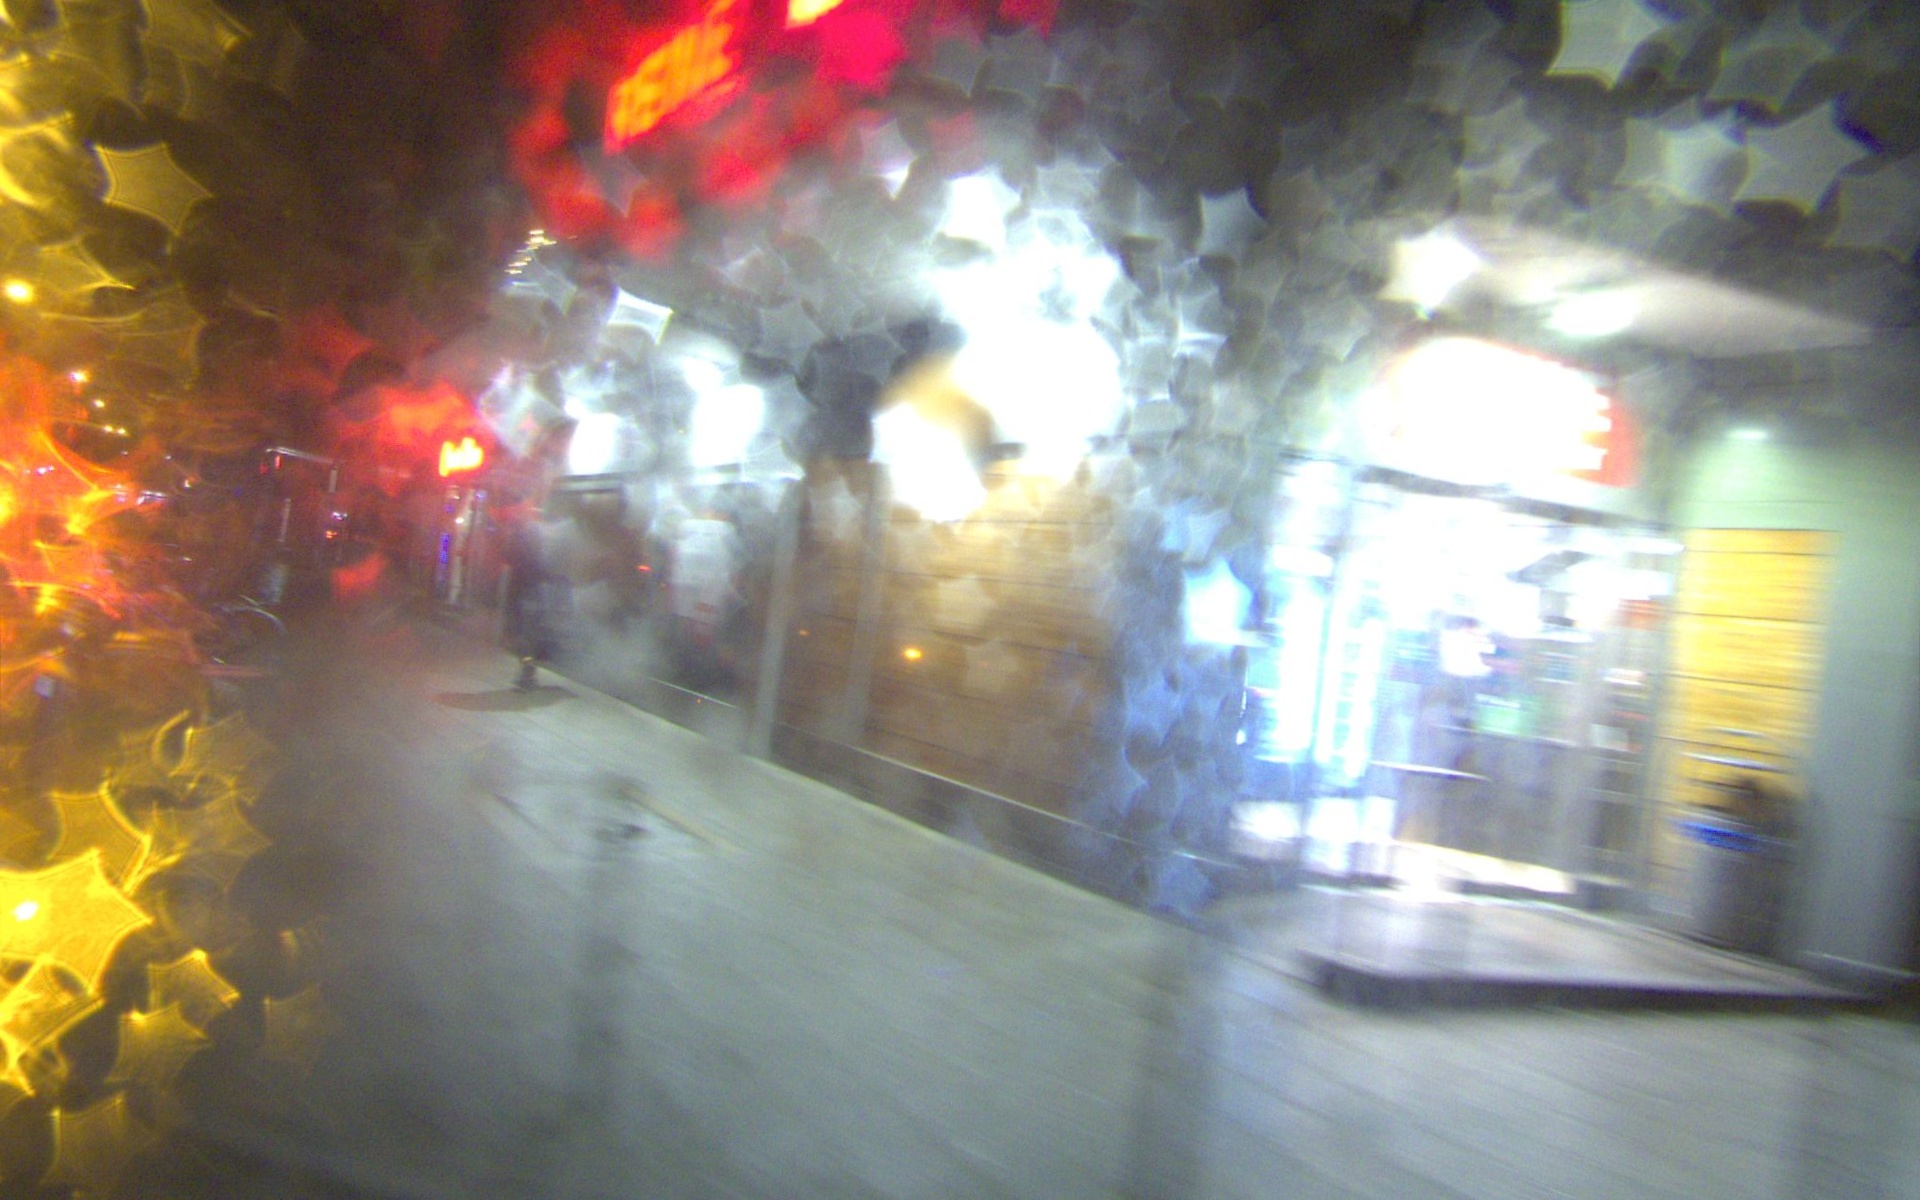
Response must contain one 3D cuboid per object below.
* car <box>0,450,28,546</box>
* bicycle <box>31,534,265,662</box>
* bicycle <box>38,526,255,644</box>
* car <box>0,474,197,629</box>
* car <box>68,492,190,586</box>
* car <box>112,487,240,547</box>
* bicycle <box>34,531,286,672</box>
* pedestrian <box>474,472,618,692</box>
[{"bbox_3d":[-22.062,-2.455,22.064,2.116,1.945,4.767,9,0,-42],"label":"car"},{"bbox_3d":[-8.271,0.010,10.317,1.755,1.092,0.430,8,1,-41],"label":"bicycle"},{"bbox_3d":[-8.669,-0.130,10.784,1.753,1.140,0.430,3,4,-41],"label":"bicycle"},{"bbox_3d":[-11.632,-0.684,13.616,1.747,1.584,4.108,9,-2,-40],"label":"car"},{"bbox_3d":[-18.114,-1.357,21.968,1.747,1.626,3.945,9,-2,-40],"label":"car"},{"bbox_3d":[-34.921,-3.665,44.896,1.968,2.038,3.989,6,-1,34],"label":"car"},{"bbox_3d":[-7.597,0.045,9.632,1.776,1.139,0.430,7,1,-41],"label":"bicycle"},{"bbox_3d":[-4.555,-0.186,11.051,1.049,2.236,0.959,5,2,-39],"label":"pedestrian"}]
